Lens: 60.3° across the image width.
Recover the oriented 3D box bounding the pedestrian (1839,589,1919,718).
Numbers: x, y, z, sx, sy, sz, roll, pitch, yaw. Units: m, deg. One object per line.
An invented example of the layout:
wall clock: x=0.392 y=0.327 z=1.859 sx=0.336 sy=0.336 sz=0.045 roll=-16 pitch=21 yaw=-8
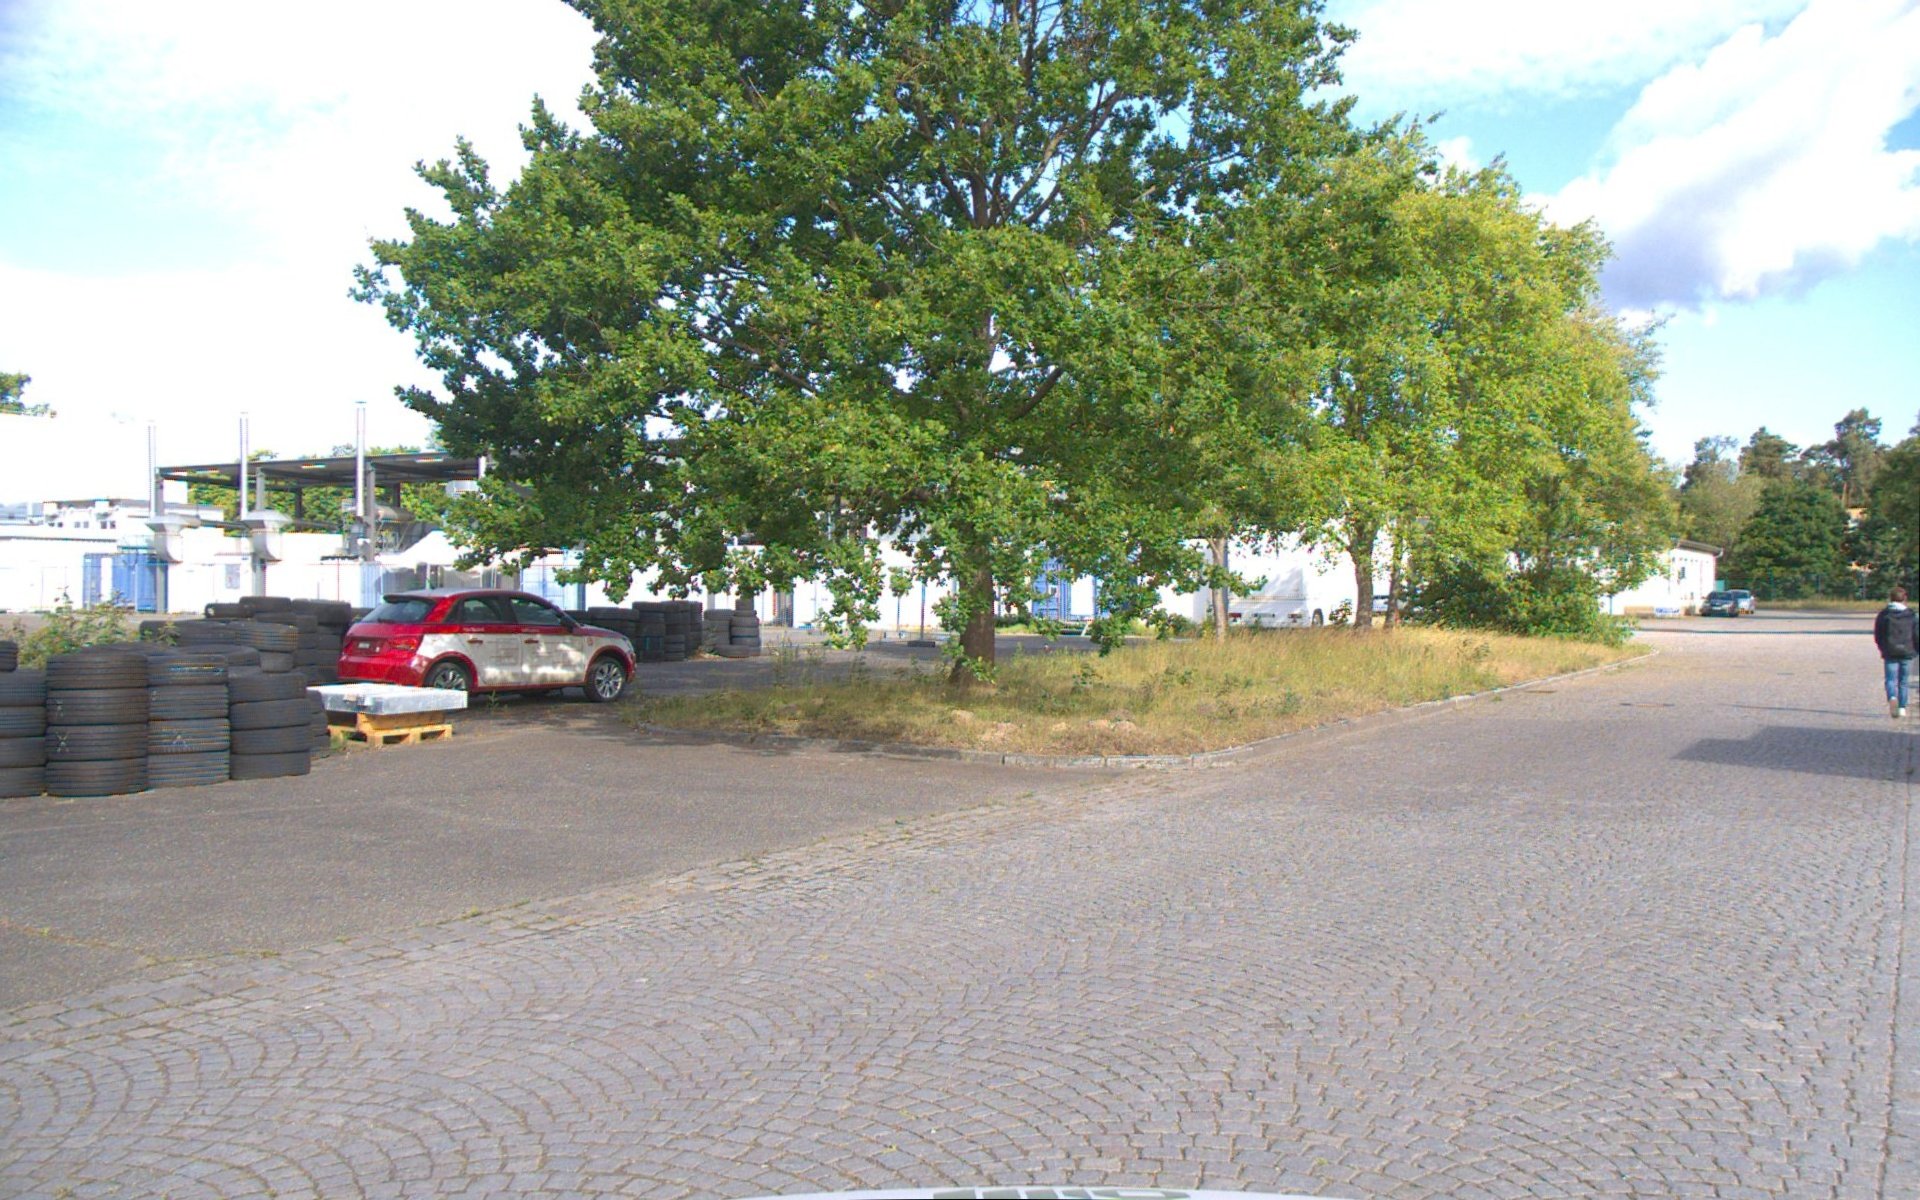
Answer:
pedestrian: x=11.775 y=0.659 z=21.132 sx=0.850 sy=1.586 sz=1.024 roll=0 pitch=0 yaw=35

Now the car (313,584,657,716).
car: x=-5.871 y=0.555 z=20.834 sx=1.694 sy=1.489 sz=3.984 roll=0 pitch=0 yaw=36

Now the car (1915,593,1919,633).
car: x=42.068 y=0.563 z=68.803 sx=3.920 sy=1.671 sz=1.993 roll=1 pitch=0 yaw=36

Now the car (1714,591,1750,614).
car: x=48.809 y=0.125 z=104.651 sx=1.953 sy=1.400 sz=3.998 roll=0 pitch=0 yaw=24

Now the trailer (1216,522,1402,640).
trailer: x=11.716 y=-0.595 z=54.634 sx=2.864 sy=3.532 sz=9.877 roll=0 pitch=0 yaw=32

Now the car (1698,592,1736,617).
car: x=43.770 y=0.238 z=95.710 sx=1.953 sy=1.395 sz=3.998 roll=0 pitch=0 yaw=24
